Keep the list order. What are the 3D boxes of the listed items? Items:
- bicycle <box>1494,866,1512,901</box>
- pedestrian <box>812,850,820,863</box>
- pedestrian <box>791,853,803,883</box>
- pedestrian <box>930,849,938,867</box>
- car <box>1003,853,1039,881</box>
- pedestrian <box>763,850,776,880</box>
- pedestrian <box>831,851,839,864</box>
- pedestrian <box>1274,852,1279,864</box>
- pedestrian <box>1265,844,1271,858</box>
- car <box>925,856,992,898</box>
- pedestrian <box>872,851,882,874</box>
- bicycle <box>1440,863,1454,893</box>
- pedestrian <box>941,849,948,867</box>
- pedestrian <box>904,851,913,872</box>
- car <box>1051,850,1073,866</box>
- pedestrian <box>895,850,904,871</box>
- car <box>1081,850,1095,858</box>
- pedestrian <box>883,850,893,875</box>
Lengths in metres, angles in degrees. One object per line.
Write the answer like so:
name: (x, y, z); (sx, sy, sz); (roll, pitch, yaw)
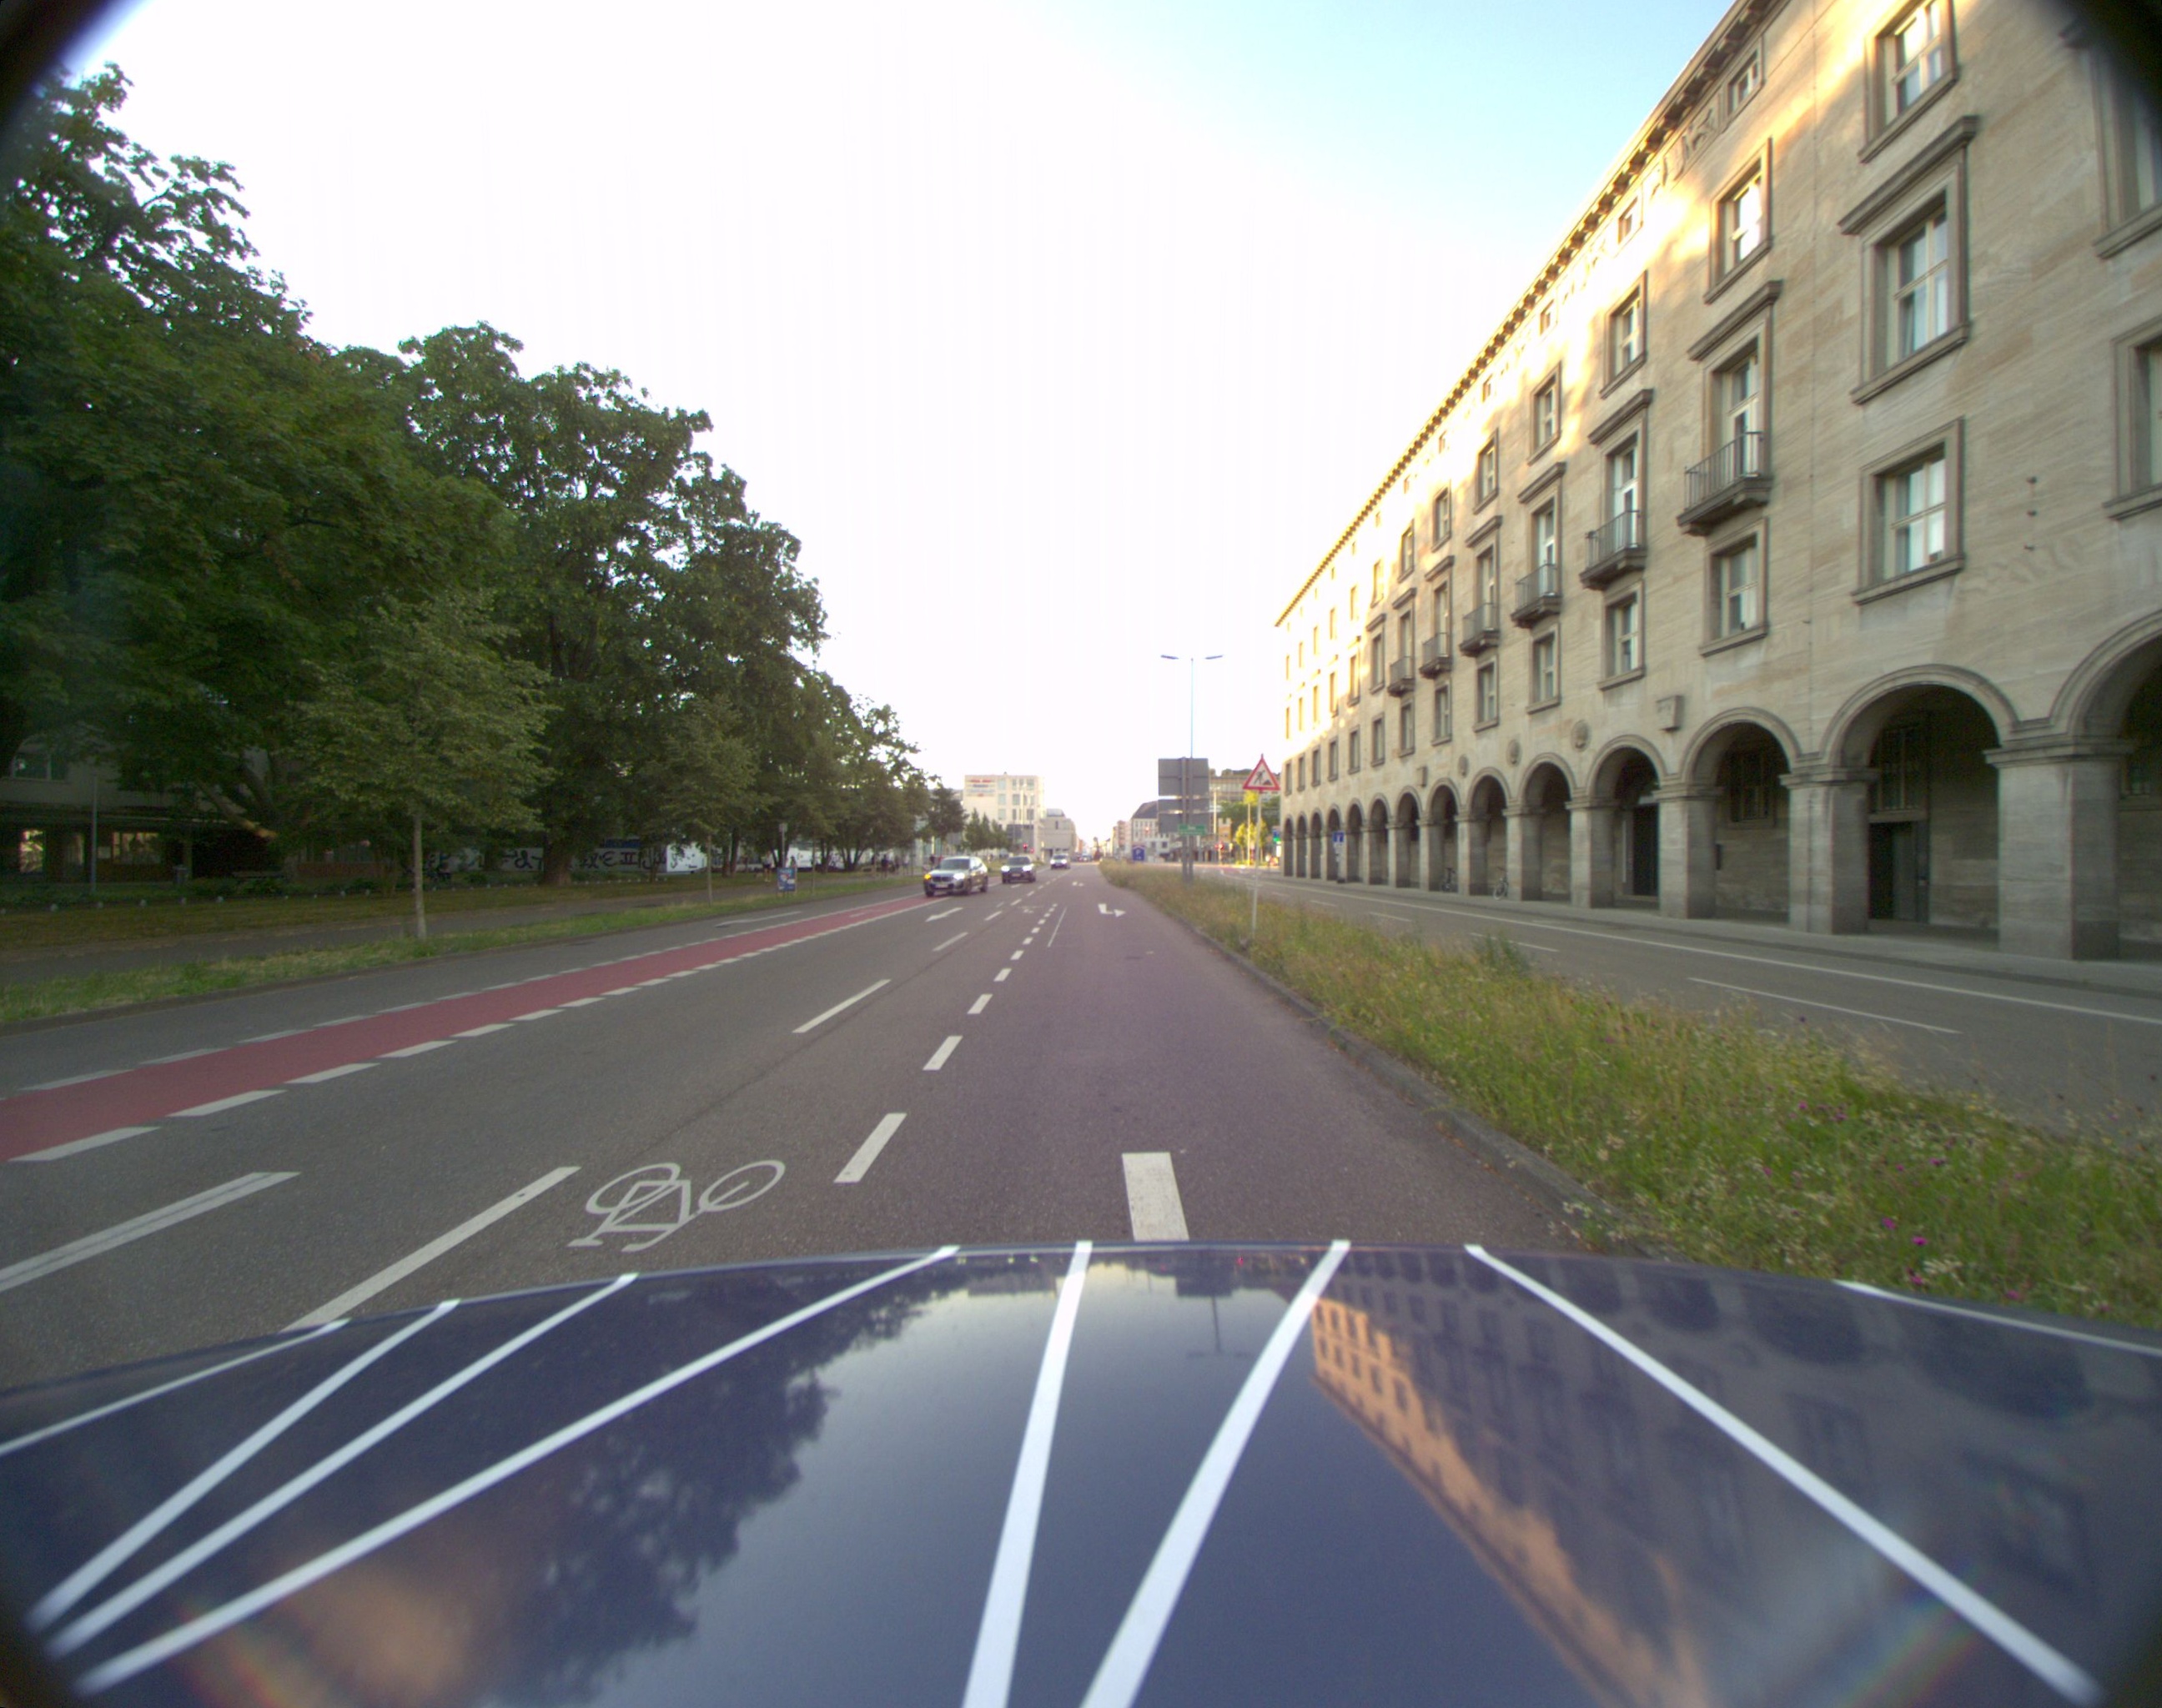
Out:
bicycle: (15.305, 1.044, 27.530); (0.513, 1.115, 2.427); (0, 1, 30)
pedestrian: (-27.014, 0.262, 77.429); (0.631, 1.347, 0.681); (0, 1, 1)
pedestrian: (-15.115, 0.760, 40.475); (0.500, 1.592, 0.365); (0, 1, 1)
pedestrian: (-14.688, 0.392, 75.952); (0.638, 1.747, 0.506); (0, 1, 1)
car: (-3.602, 0.764, 46.129); (1.782, 1.617, 4.215); (-1, 0, 1)
pedestrian: (-16.456, 0.564, 40.149); (0.500, 1.592, 0.522); (0, 1, 1)
pedestrian: (-25.282, 0.389, 78.184); (0.662, 1.347, 0.559); (0, 1, 1)
pedestrian: (24.761, 0.519, 96.296); (0.526, 1.532, 0.390); (0, 1, 1)
pedestrian: (23.802, -0.370, 96.498); (0.638, 1.747, 0.506); (0, 1, 1)
car: (-5.211, 0.926, 32.870); (1.825, 1.612, 4.338); (-2, 0, 5)
pedestrian: (-15.147, 0.622, 56.403); (0.509, 1.720, 0.719); (0, 1, 1)
bicycle: (15.466, 1.000, 32.125); (0.513, 1.172, 2.427); (0, 0, 25)
pedestrian: (-13.652, 0.420, 75.841); (0.638, 1.747, 0.506); (0, 1, 1)
pedestrian: (-14.351, 0.648, 63.266); (0.509, 1.720, 0.719); (0, 1, 1)
car: (-2.097, 0.427, 84.975); (1.781, 1.676, 4.218); (0, 0, 8)
pedestrian: (-15.147, 0.563, 63.392); (0.519, 1.720, 0.719); (0, 1, 1)
car: (2.053, -0.121, 219.003); (1.995, 2.297, 5.098); (0, 0, 25)
pedestrian: (-13.409, 0.601, 52.897); (0.558, 1.729, 0.555); (0, 1, 1)
